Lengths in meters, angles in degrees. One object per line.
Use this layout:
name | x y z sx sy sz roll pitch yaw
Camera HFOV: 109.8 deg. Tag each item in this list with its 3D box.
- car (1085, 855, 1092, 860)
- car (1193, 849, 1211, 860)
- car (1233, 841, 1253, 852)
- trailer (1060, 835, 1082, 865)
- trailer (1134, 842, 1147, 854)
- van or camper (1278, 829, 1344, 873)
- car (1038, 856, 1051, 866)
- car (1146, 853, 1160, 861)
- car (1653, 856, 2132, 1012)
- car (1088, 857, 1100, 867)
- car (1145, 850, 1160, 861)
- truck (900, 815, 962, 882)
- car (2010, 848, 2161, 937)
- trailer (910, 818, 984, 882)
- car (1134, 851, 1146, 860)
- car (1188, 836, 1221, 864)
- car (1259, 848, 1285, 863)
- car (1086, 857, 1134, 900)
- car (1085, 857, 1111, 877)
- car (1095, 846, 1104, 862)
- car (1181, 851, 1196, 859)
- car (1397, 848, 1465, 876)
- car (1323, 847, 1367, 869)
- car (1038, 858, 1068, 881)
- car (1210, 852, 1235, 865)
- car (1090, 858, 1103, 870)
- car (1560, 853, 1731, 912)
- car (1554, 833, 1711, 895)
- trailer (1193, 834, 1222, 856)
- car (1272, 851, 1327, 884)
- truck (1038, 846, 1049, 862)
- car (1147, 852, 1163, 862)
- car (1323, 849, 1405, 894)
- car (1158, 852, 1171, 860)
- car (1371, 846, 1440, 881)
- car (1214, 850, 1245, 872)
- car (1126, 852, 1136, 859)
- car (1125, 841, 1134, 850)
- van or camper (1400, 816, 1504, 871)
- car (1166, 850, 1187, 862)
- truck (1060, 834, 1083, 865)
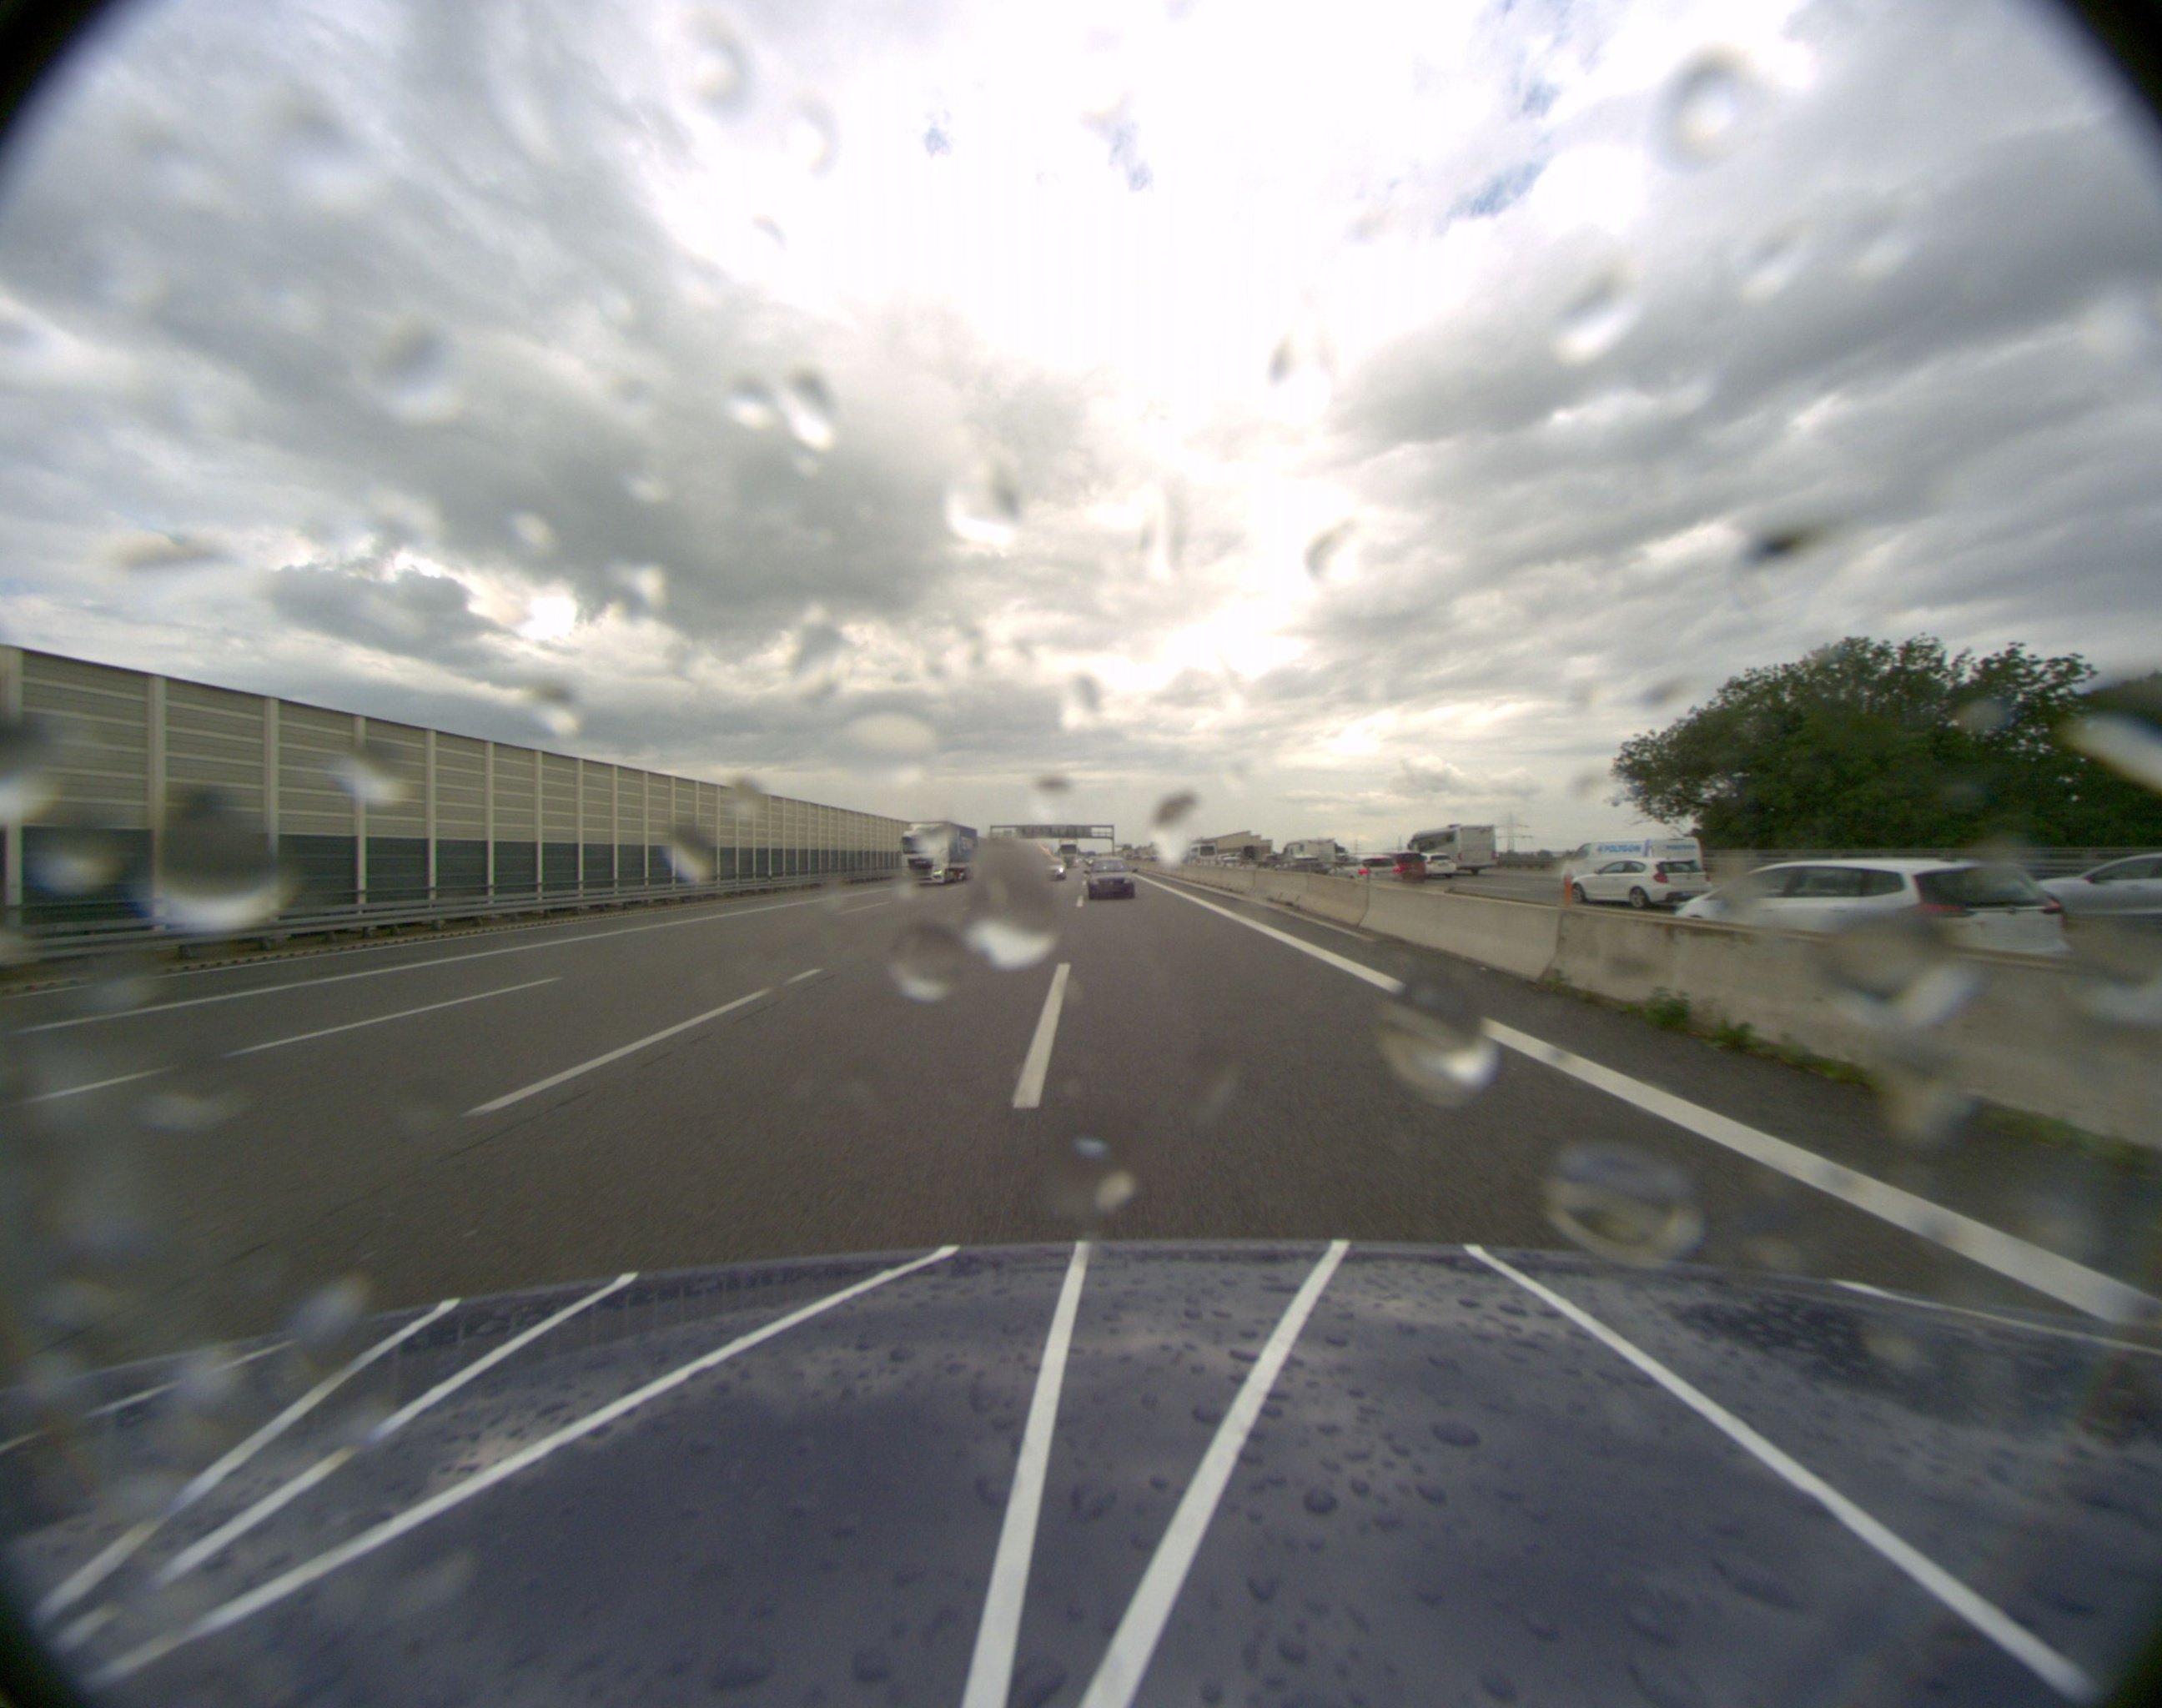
car | 2.081 0.928 209.921 1.698 1.394 4.000 -2 0 0
car | 19.830 0.036 124.639 2.065 1.636 6.120 -1 0 0
car | 24.377 -1.112 114.396 2.065 1.636 4.519 -1 0 0
trailer | -1.400 -0.527 114.146 2.926 4.187 13.196 -3 0 0
trailer | 20.933 -1.914 266.607 2.769 4.008 14.450 -2 0 -2
van or camper | 16.974 -0.236 56.622 2.631 2.934 7.358 -3 1 1
car | -5.571 1.066 115.979 1.698 1.394 4.000 -2 0 0
car | 13.603 0.567 143.094 2.065 1.526 5.469 -1 0 0
car | 11.144 0.925 11.166 1.727 1.636 4.997 -3 1 1
car | 1.972 1.165 115.281 1.498 1.394 3.999 -2 0 -2
car | 11.842 0.263 126.004 2.065 1.636 4.519 -1 0 0
truck | -9.564 -0.307 48.978 2.752 4.011 5.726 -2 0 0
car | 19.725 0.678 13.434 1.727 1.470 3.959 -3 1 -1
trailer | -9.559 -0.237 56.030 2.768 4.008 14.452 -2 0 0
car | 12.733 0.391 164.540 2.065 1.869 6.327 -1 0 0
car | 13.268 -0.323 82.224 2.236 2.733 9.165 -1 -1 1
car | 20.460 0.119 81.466 1.727 1.456 4.519 -3 1 2
car | 0.999 0.822 27.414 1.578 1.394 4.000 -2 0 1
car | 1.298 0.946 56.894 1.776 1.451 4.481 -2 0 2
car | 3.517 -0.015 145.399 1.645 3.041 4.589 -2 0 1
car | 20.509 0.161 145.103 2.065 1.526 5.469 -1 0 0
car | 20.241 0.400 44.172 1.727 1.447 5.019 -3 1 2
car | 20.665 0.262 59.697 1.852 1.538 5.019 -3 1 2
car | -1.821 1.022 50.678 1.732 1.394 4.000 -2 0 1
car | 16.932 0.524 91.190 2.065 1.526 4.519 -1 0 0
car | 1.869 1.214 94.626 1.498 1.394 4.000 -2 0 0
car | 16.333 0.751 22.324 1.727 1.407 4.519 -3 1 2
car | 19.581 0.290 27.369 1.692 1.925 5.548 -3 1 1
trailer | 24.241 -1.573 146.253 2.939 4.008 14.452 -2 0 0
car | 12.213 0.701 42.753 1.727 1.636 5.062 -3 1 2
truck | -10.118 0.081 204.794 2.600 4.087 11.368 -2 0 -4
car | 12.340 0.480 126.571 2.065 1.636 5.379 -1 0 0
car | 11.885 0.682 32.270 1.727 1.636 5.062 -3 1 2
car | 16.943 0.354 154.837 2.065 1.526 5.469 -1 0 0
car | 16.782 0.449 39.562 1.727 1.636 4.519 -3 1 2
car | 12.089 0.558 62.112 1.727 1.636 4.519 -3 1 2
car | 11.869 0.380 180.822 2.065 1.525 4.997 -1 0 0
car | 14.888 -2.517 233.163 2.389 2.535 7.086 -2 0 0
van or camper | 23.816 -0.660 49.392 2.631 3.104 8.476 -3 1 1
car | 13.051 0.267 104.094 2.065 1.526 5.469 -1 0 0
truck | -1.366 -0.573 107.162 2.913 4.146 5.193 -3 0 1
